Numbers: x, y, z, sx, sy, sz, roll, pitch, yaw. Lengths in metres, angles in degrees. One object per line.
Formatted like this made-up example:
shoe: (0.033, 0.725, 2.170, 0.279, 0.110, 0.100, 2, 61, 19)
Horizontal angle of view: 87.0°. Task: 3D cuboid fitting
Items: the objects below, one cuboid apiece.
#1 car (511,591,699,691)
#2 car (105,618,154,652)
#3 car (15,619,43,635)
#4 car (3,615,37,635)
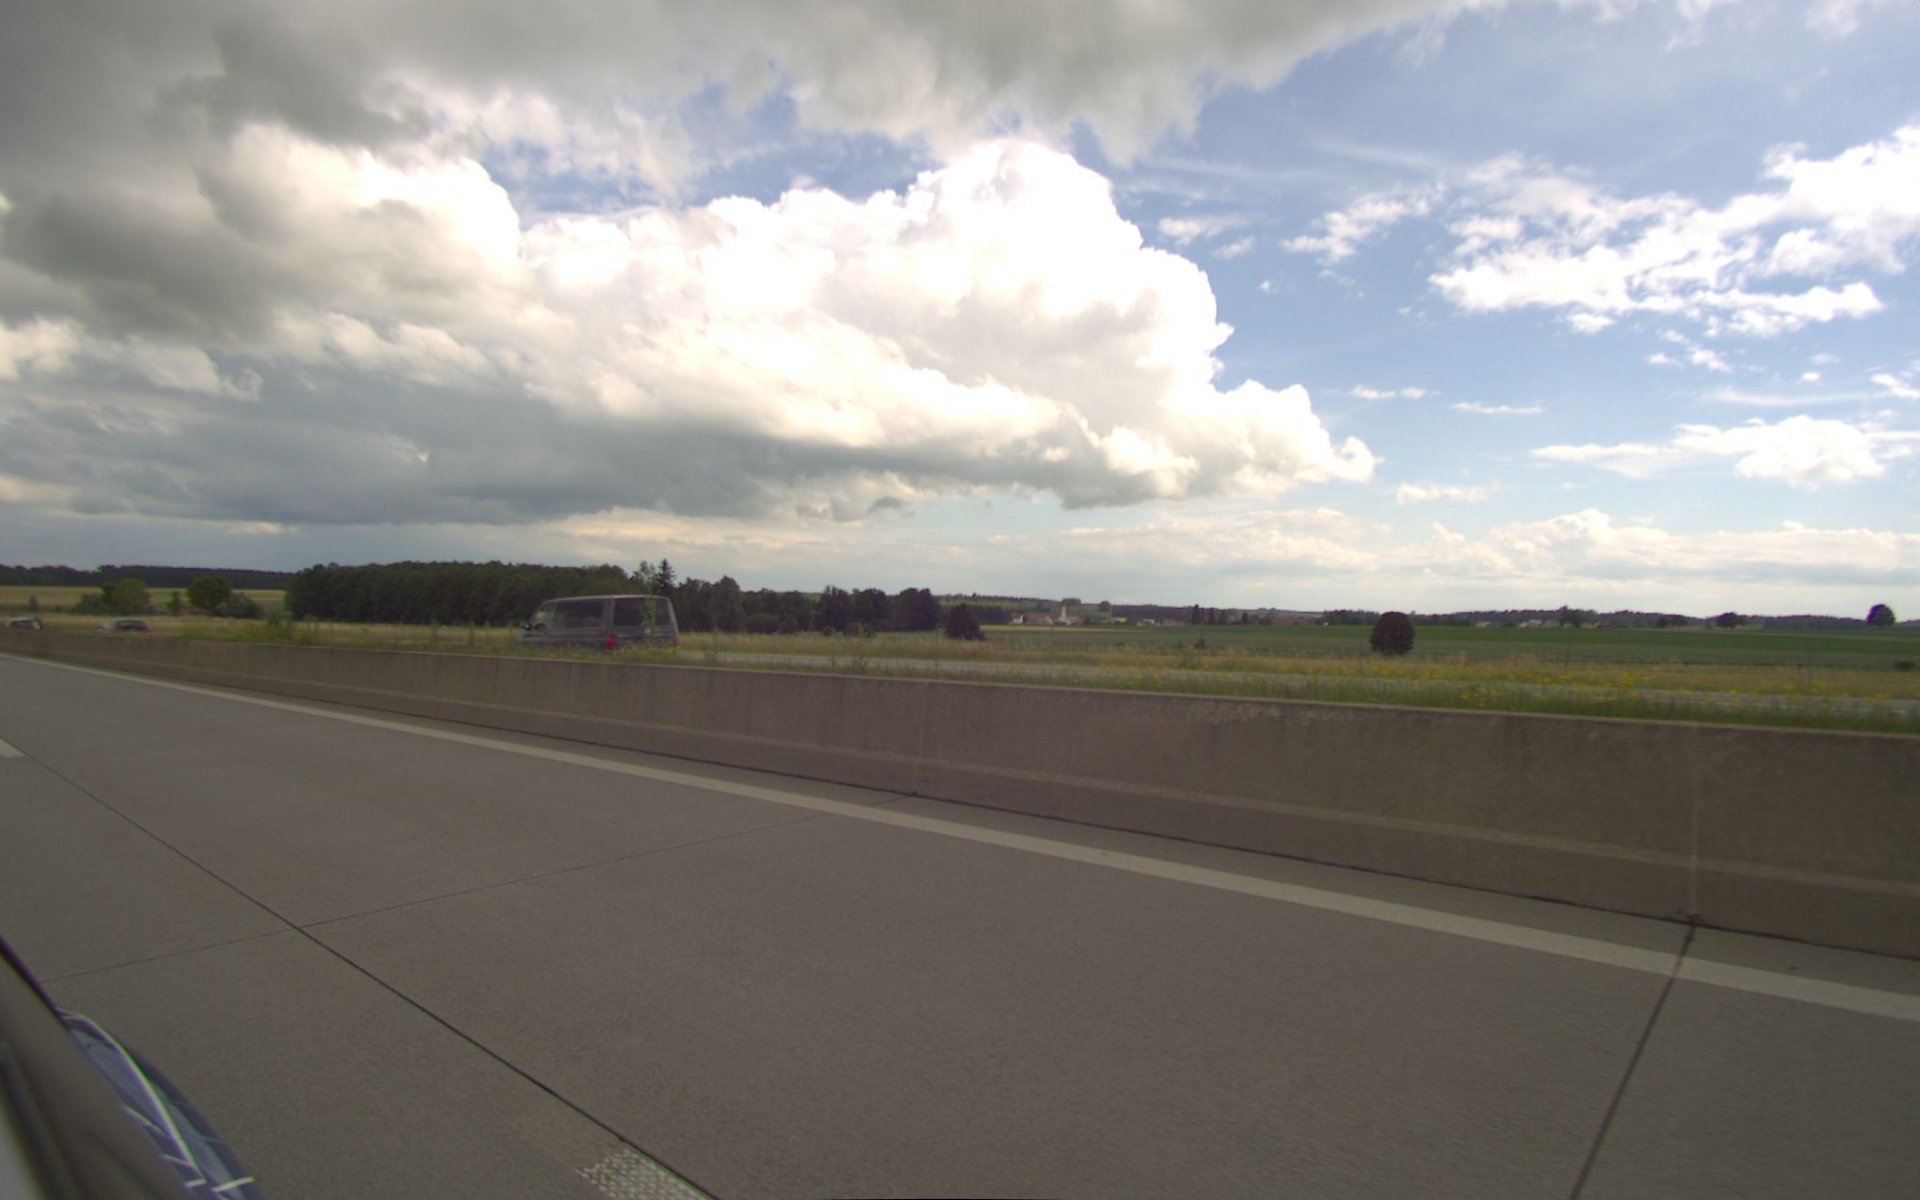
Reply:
car: (-8.088, 0.889, 22.825, 4.627, 2.029, 1.973, -2, -1, 41)
car: (-44.969, 1.889, 54.773, 3.257, 1.659, 1.534, 1, 1, 41)
car: (-106.939, 3.096, 116.237, 4.940, 1.653, 1.731, -1, 0, 41)
car: (-71.951, 1.905, 77.473, 3.098, 1.482, 1.600, -1, 0, 41)
